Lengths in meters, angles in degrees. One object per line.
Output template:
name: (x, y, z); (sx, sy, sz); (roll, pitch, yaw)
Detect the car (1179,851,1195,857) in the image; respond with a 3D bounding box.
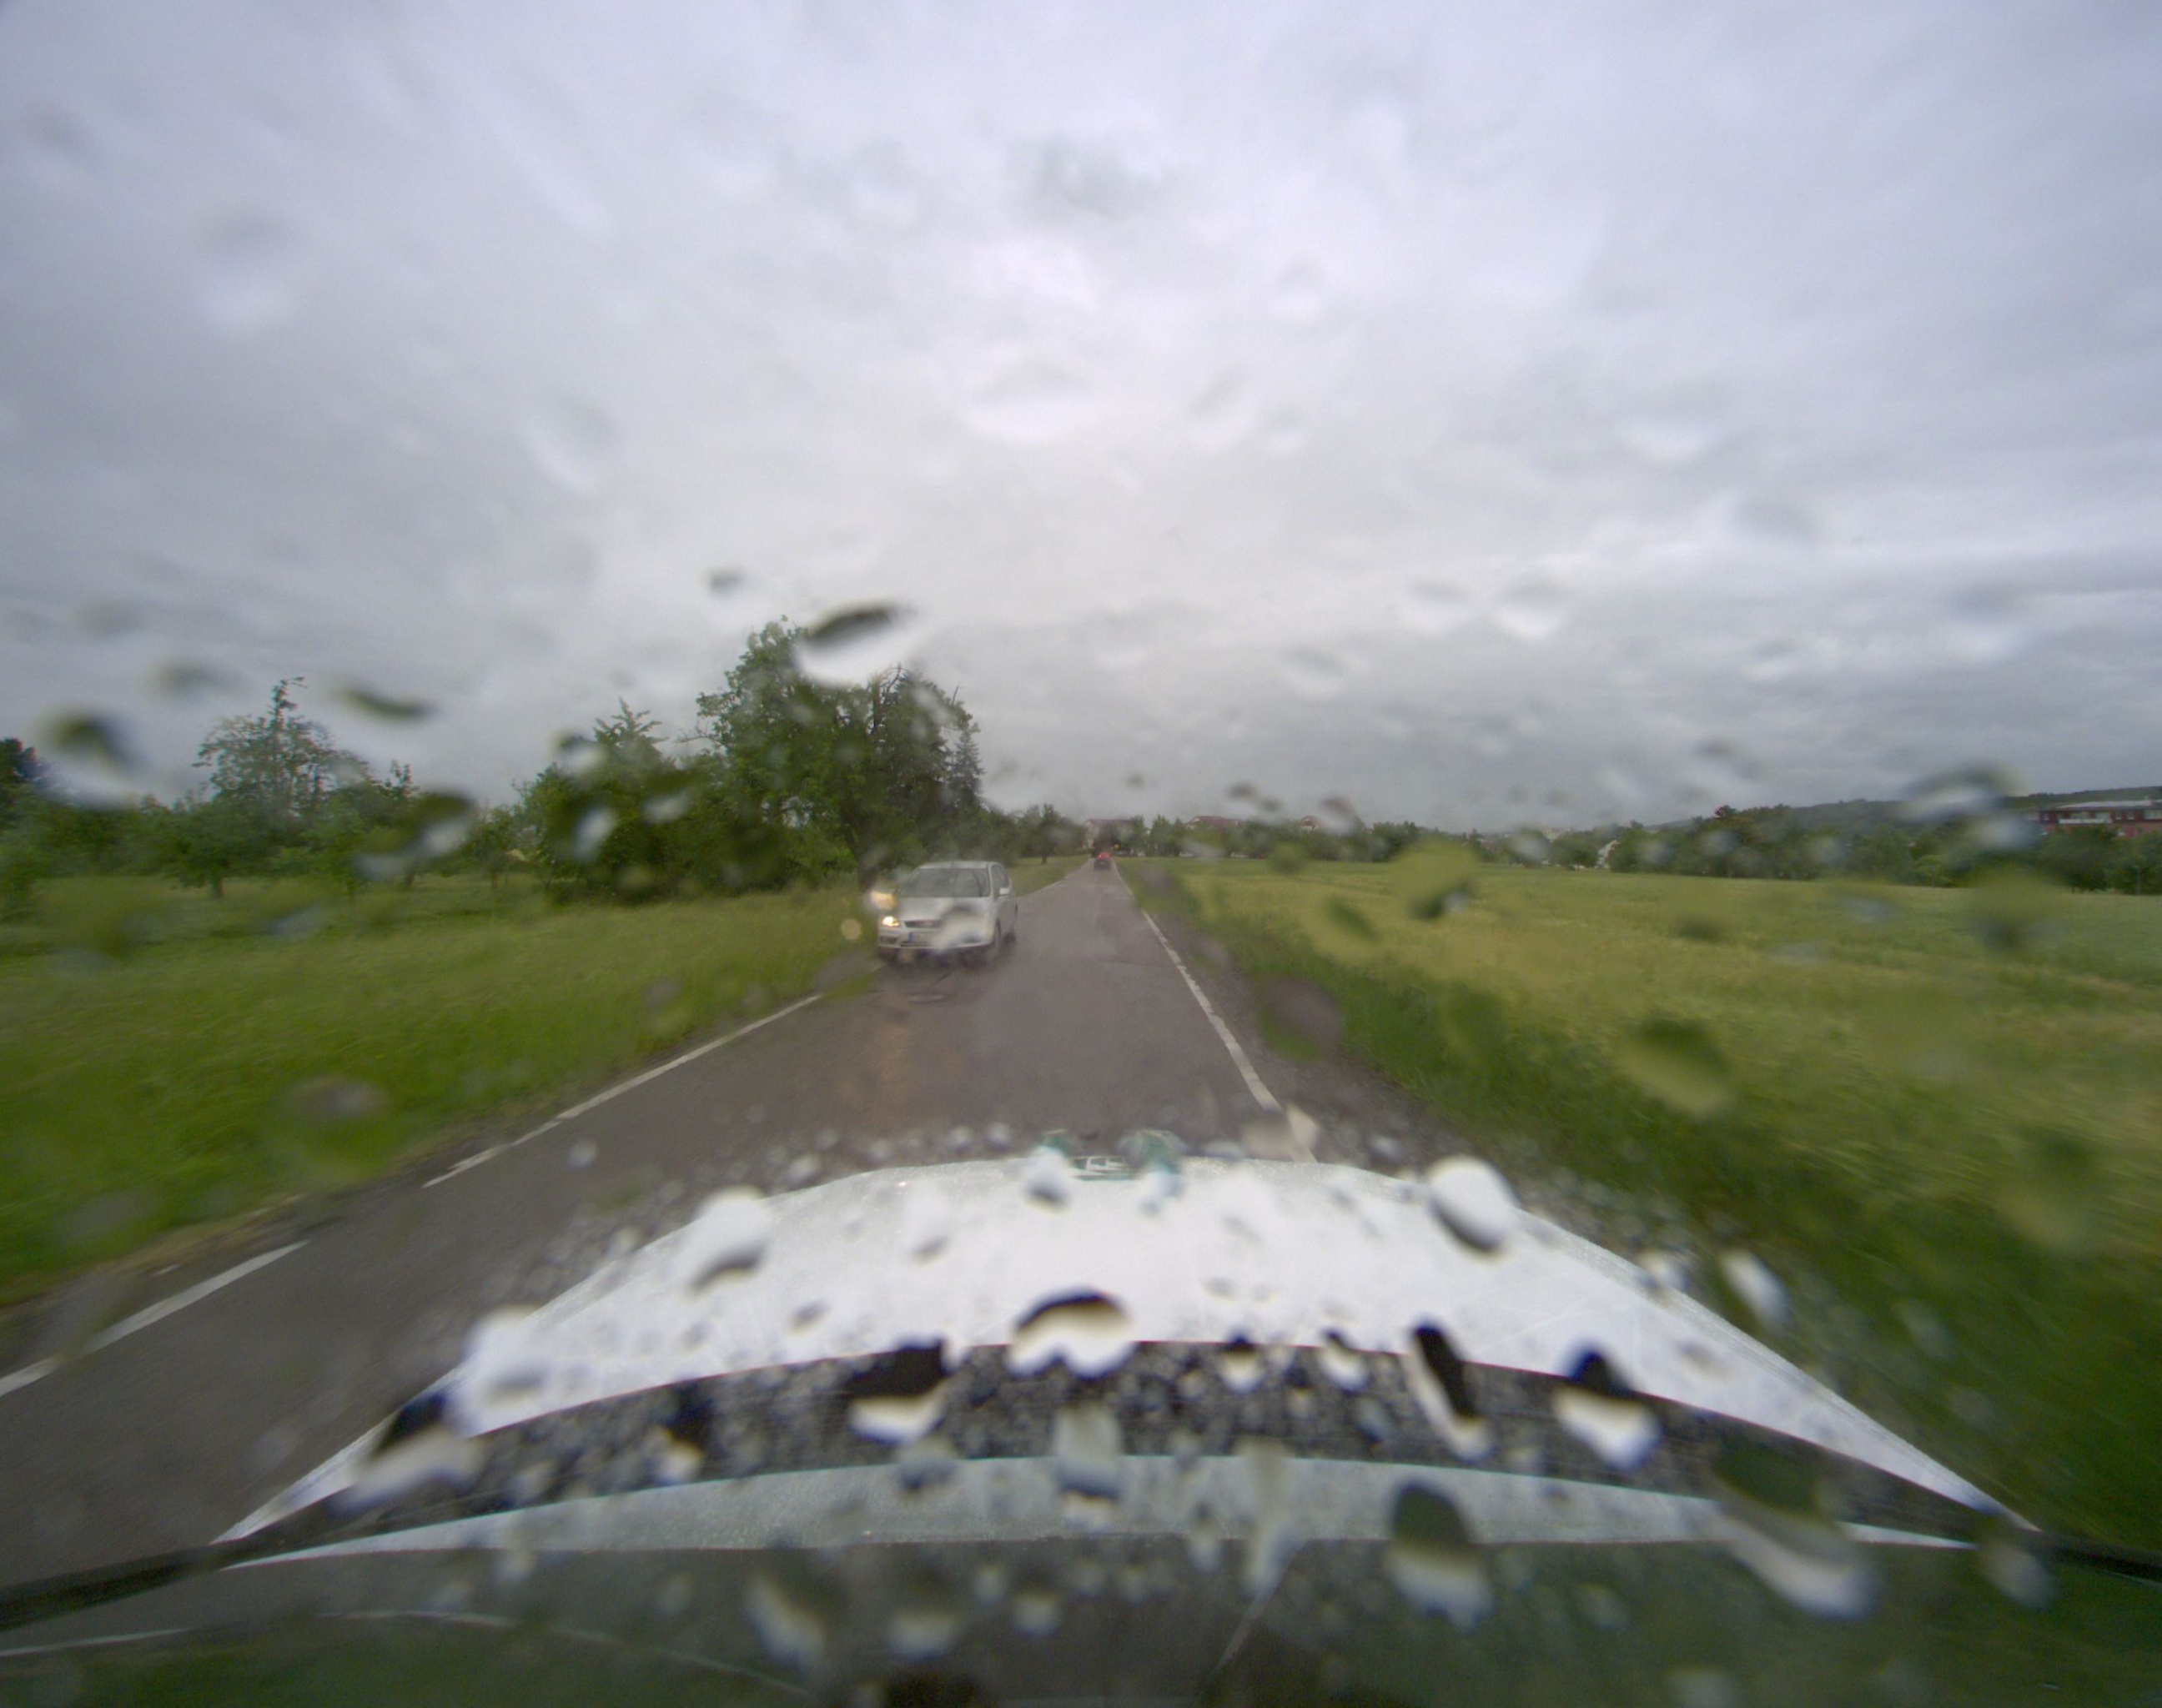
car: (24.127, 0.030, 185.753); (3.365, 1.371, 1.554); (0, -1, 15)

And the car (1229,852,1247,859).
car: (35.255, 0.244, 182.842); (3.682, 1.564, 1.616); (0, -1, 15)

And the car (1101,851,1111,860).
car: (4.583, 0.202, 151.014); (1.807, 1.594, 4.003); (0, -1, 3)

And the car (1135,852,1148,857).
car: (16.724, 0.140, 224.149); (1.645, 1.546, 4.025); (-1, -1, 37)

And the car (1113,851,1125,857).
car: (10.046, 0.037, 214.132); (1.645, 1.546, 4.023); (0, -1, 26)

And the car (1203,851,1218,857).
car: (29.309, -0.076, 184.527); (3.169, 1.371, 1.578); (0, -1, 15)

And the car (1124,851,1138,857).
car: (13.518, 0.105, 219.980); (1.645, 1.546, 4.025); (-1, -1, 37)

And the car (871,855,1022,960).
car: (-2.032, 0.786, 13.493); (1.733, 1.471, 4.123); (0, -1, 1)

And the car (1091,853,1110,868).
car: (2.082, 0.711, 86.030); (1.807, 1.594, 4.003); (0, -1, 3)
